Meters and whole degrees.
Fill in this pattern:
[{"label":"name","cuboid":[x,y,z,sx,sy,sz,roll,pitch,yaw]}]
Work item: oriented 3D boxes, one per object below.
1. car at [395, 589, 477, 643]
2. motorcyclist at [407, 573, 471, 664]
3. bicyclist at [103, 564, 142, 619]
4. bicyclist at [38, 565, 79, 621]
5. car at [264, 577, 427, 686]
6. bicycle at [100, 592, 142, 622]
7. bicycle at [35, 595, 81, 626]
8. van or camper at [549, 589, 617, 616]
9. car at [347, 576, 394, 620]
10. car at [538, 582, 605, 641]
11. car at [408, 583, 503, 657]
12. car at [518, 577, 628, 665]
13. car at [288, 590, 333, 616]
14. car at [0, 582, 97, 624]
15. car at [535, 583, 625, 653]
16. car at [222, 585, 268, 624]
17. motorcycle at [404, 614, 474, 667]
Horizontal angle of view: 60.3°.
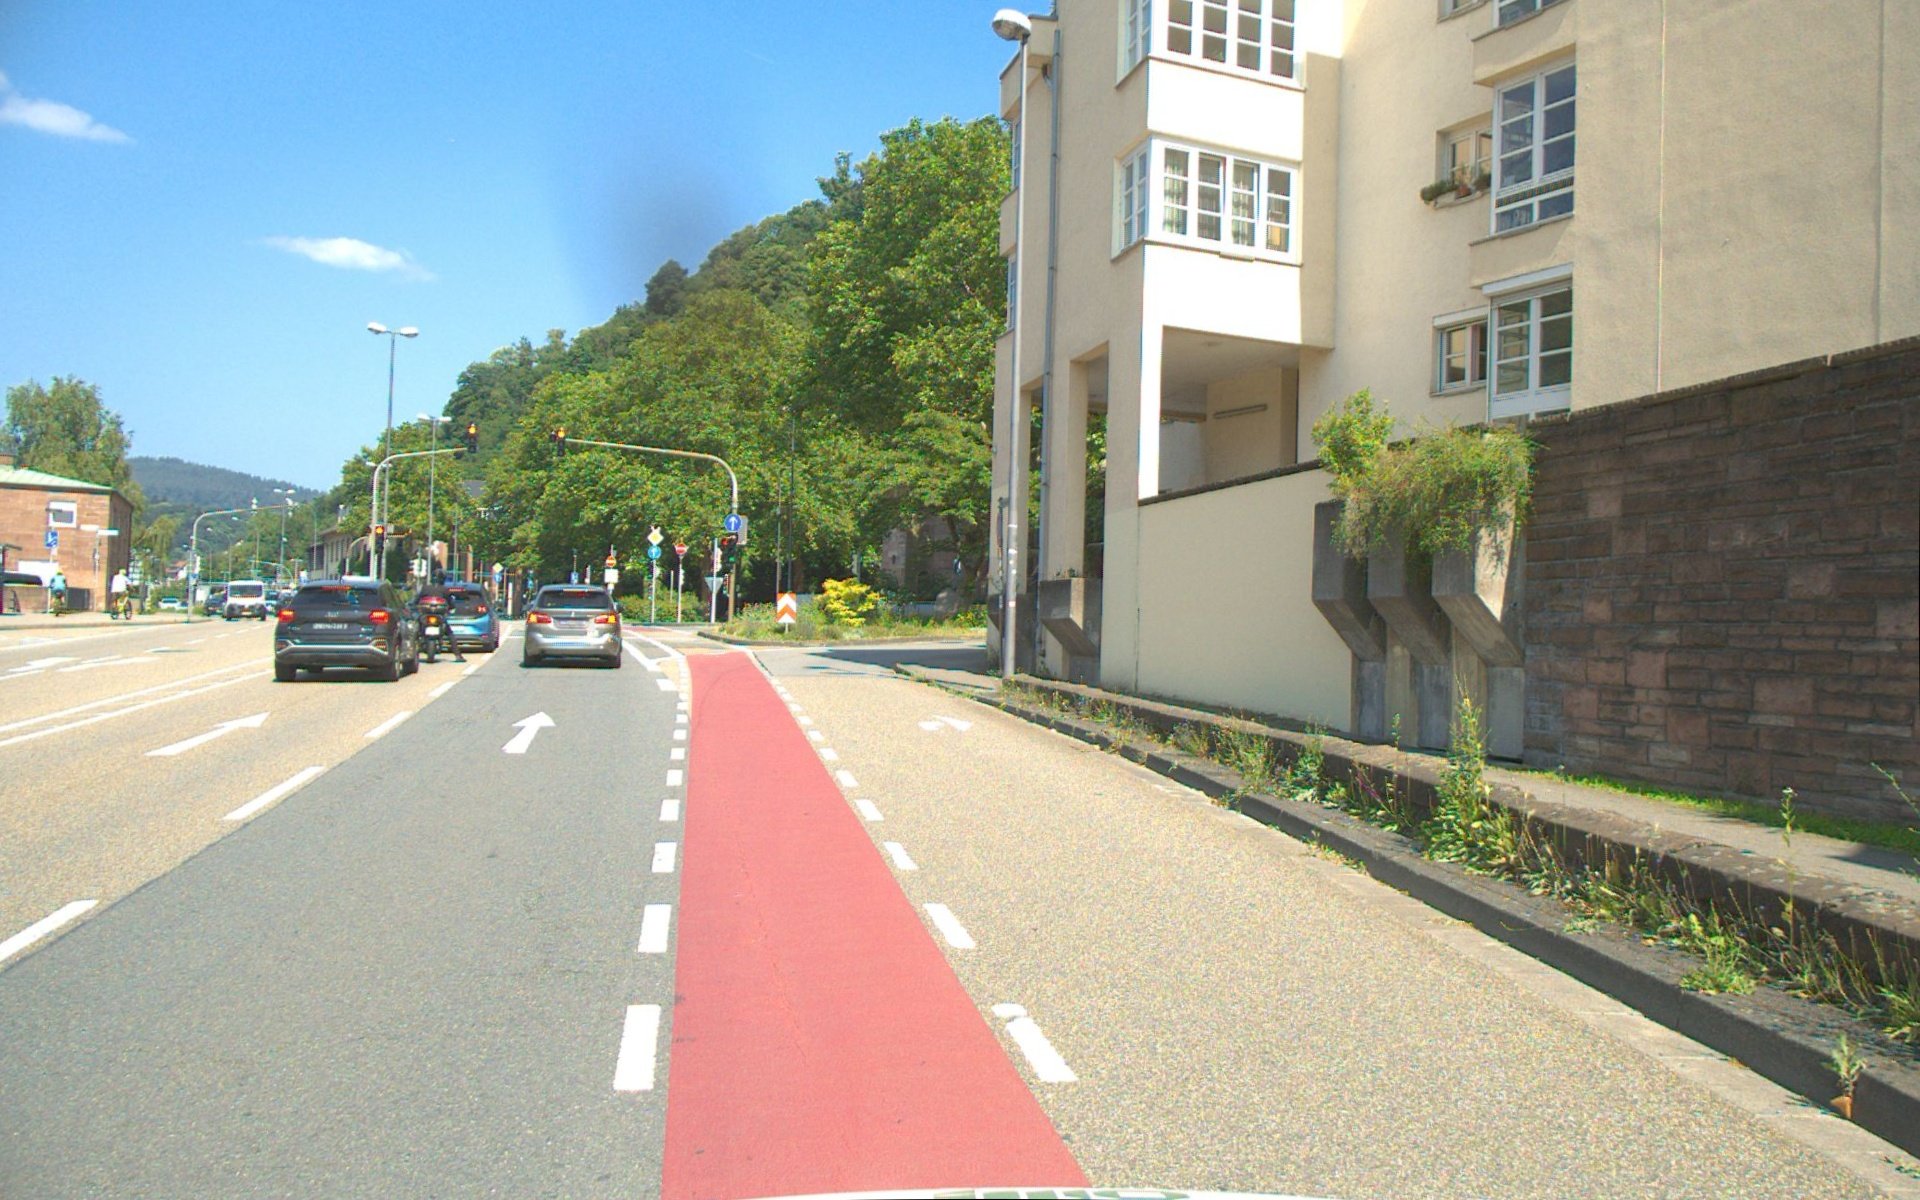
[{"label":"car","cuboid":[-14.339,0.405,45.436,1.835,1.382,3.986,0,0,-14]},{"label":"motorcyclist","cuboid":[-10.058,0.353,31.964,1.057,1.713,1.152,1,0,-12]},{"label":"bicyclist","cuboid":[-32.125,-0.326,63.465,1.195,2.049,1.111,0,0,-22]},{"label":"bicyclist","cuboid":[-33.483,-0.276,61.457,1.195,2.049,1.111,0,0,-22]},{"label":"car","cuboid":[-9.675,0.464,26.341,1.837,1.540,4.137,2,0,-13]},{"label":"bicycle","cuboid":[-32.106,0.253,63.359,1.196,1.109,2.580,0,0,-22]},{"label":"bicycle","cuboid":[-33.438,0.370,61.359,1.196,1.109,2.580,0,0,-22]},{"label":"van or camper","cuboid":[-27.524,0.199,120.708,4.446,1.935,2.001,0,0,4]},{"label":"car","cuboid":[-35.637,-0.130,99.937,2.351,2.621,6.013,0,0,-23]},{"label":"car","cuboid":[-10.935,0.311,46.579,1.755,1.559,4.720,0,0,-13]},{"label":"car","cuboid":[-11.580,0.424,38.179,1.835,1.589,3.986,0,0,-14]},{"label":"car","cuboid":[-7.448,0.386,32.143,1.855,1.547,4.294,2,0,-11]},{"label":"car","cuboid":[-37.472,0.149,95.478,1.961,1.457,4.150,0,1,-15]},{"label":"car","cuboid":[-46.140,0.129,83.034,1.960,2.049,4.601,1,0,35]},{"label":"car","cuboid":[-9.070,0.390,39.648,1.959,1.560,4.843,1,0,-12]},{"label":"car","cuboid":[-40.387,0.241,93.559,2.183,2.115,5.011,0,0,-21]},{"label":"motorcycle","cuboid":[-10.087,0.760,32.090,1.019,0.935,2.597,1,0,-12]}]
